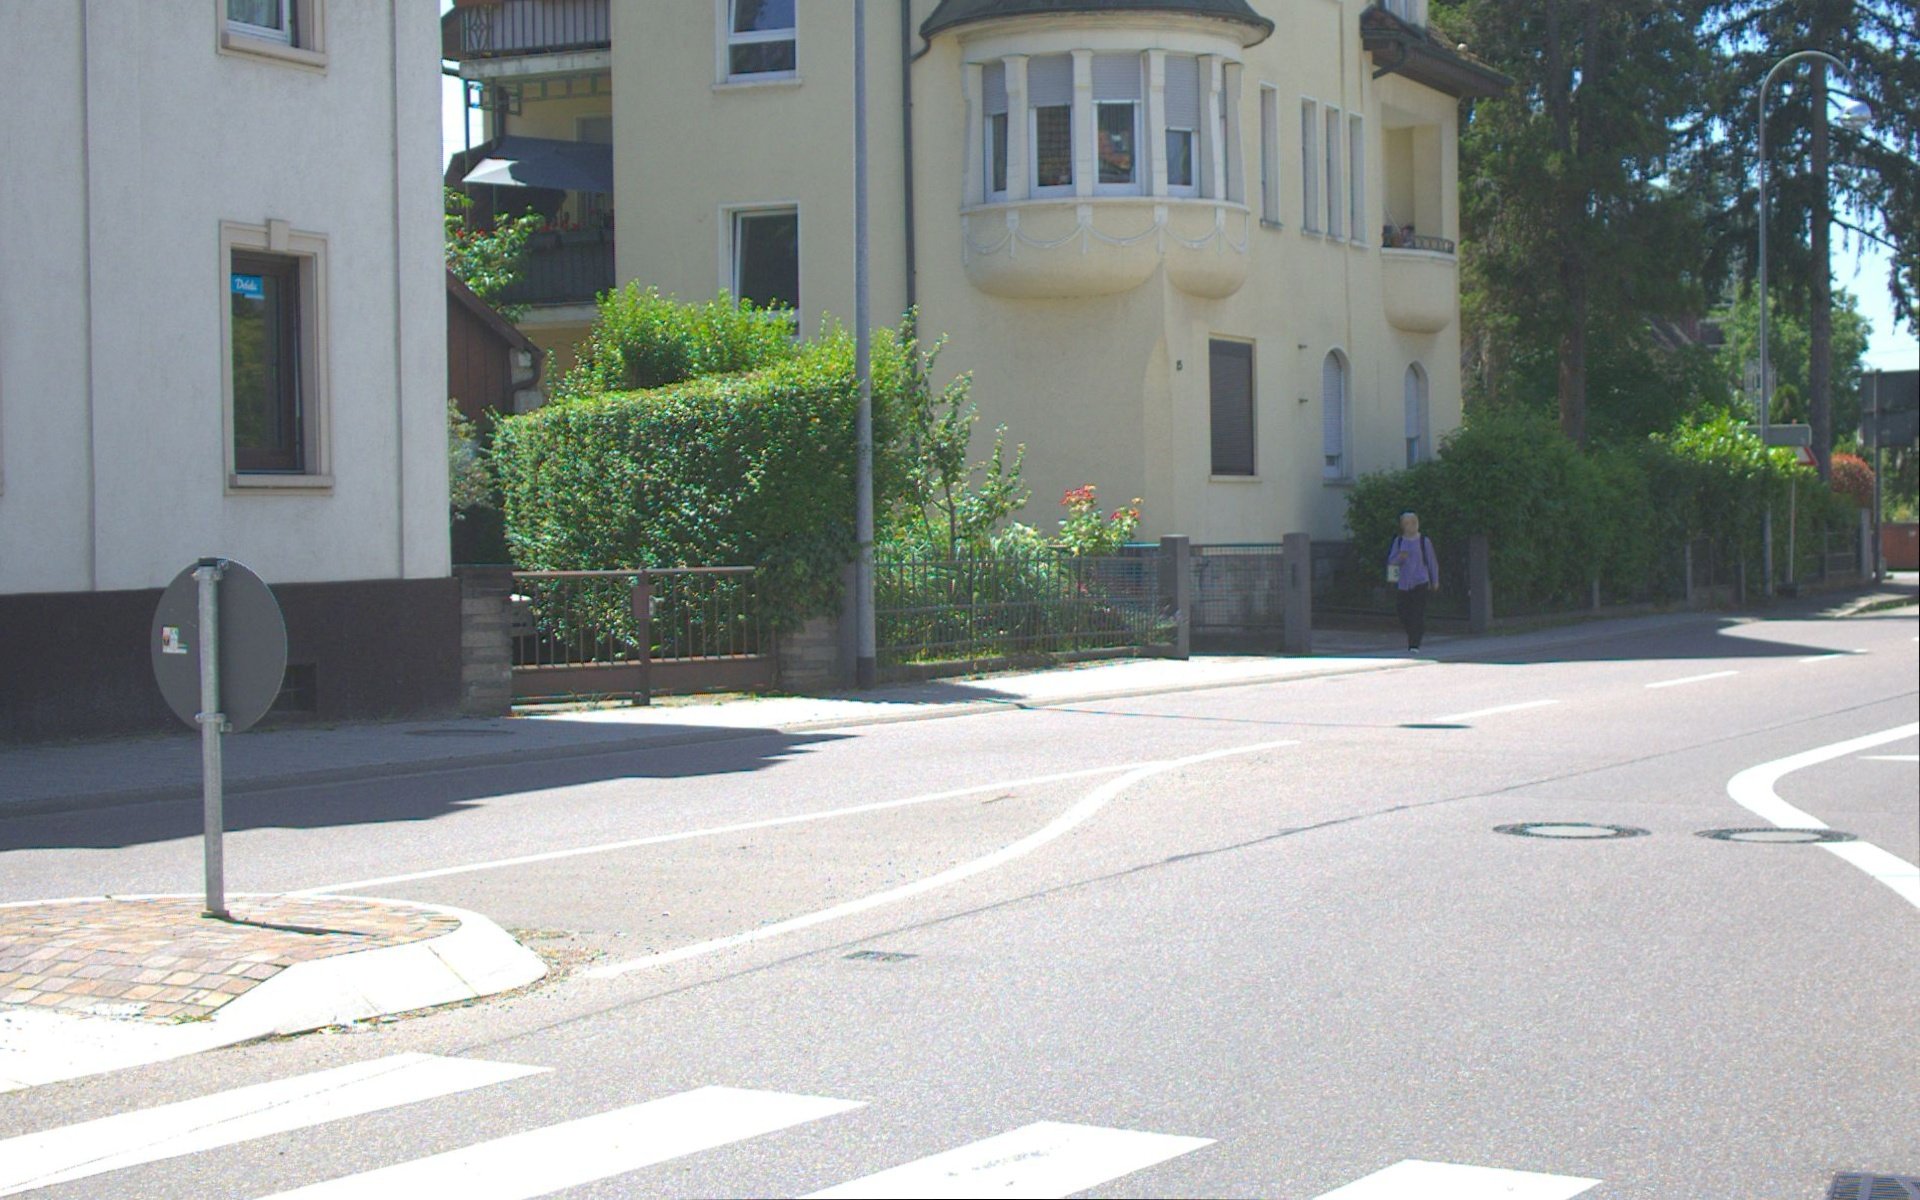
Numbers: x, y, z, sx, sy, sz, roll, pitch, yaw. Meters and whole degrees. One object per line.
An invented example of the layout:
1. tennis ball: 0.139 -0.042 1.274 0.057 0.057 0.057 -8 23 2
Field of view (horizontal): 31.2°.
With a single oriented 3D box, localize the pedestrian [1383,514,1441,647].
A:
1. pedestrian: 5.159 -0.230 39.198 0.523 1.504 0.472 0 1 26
